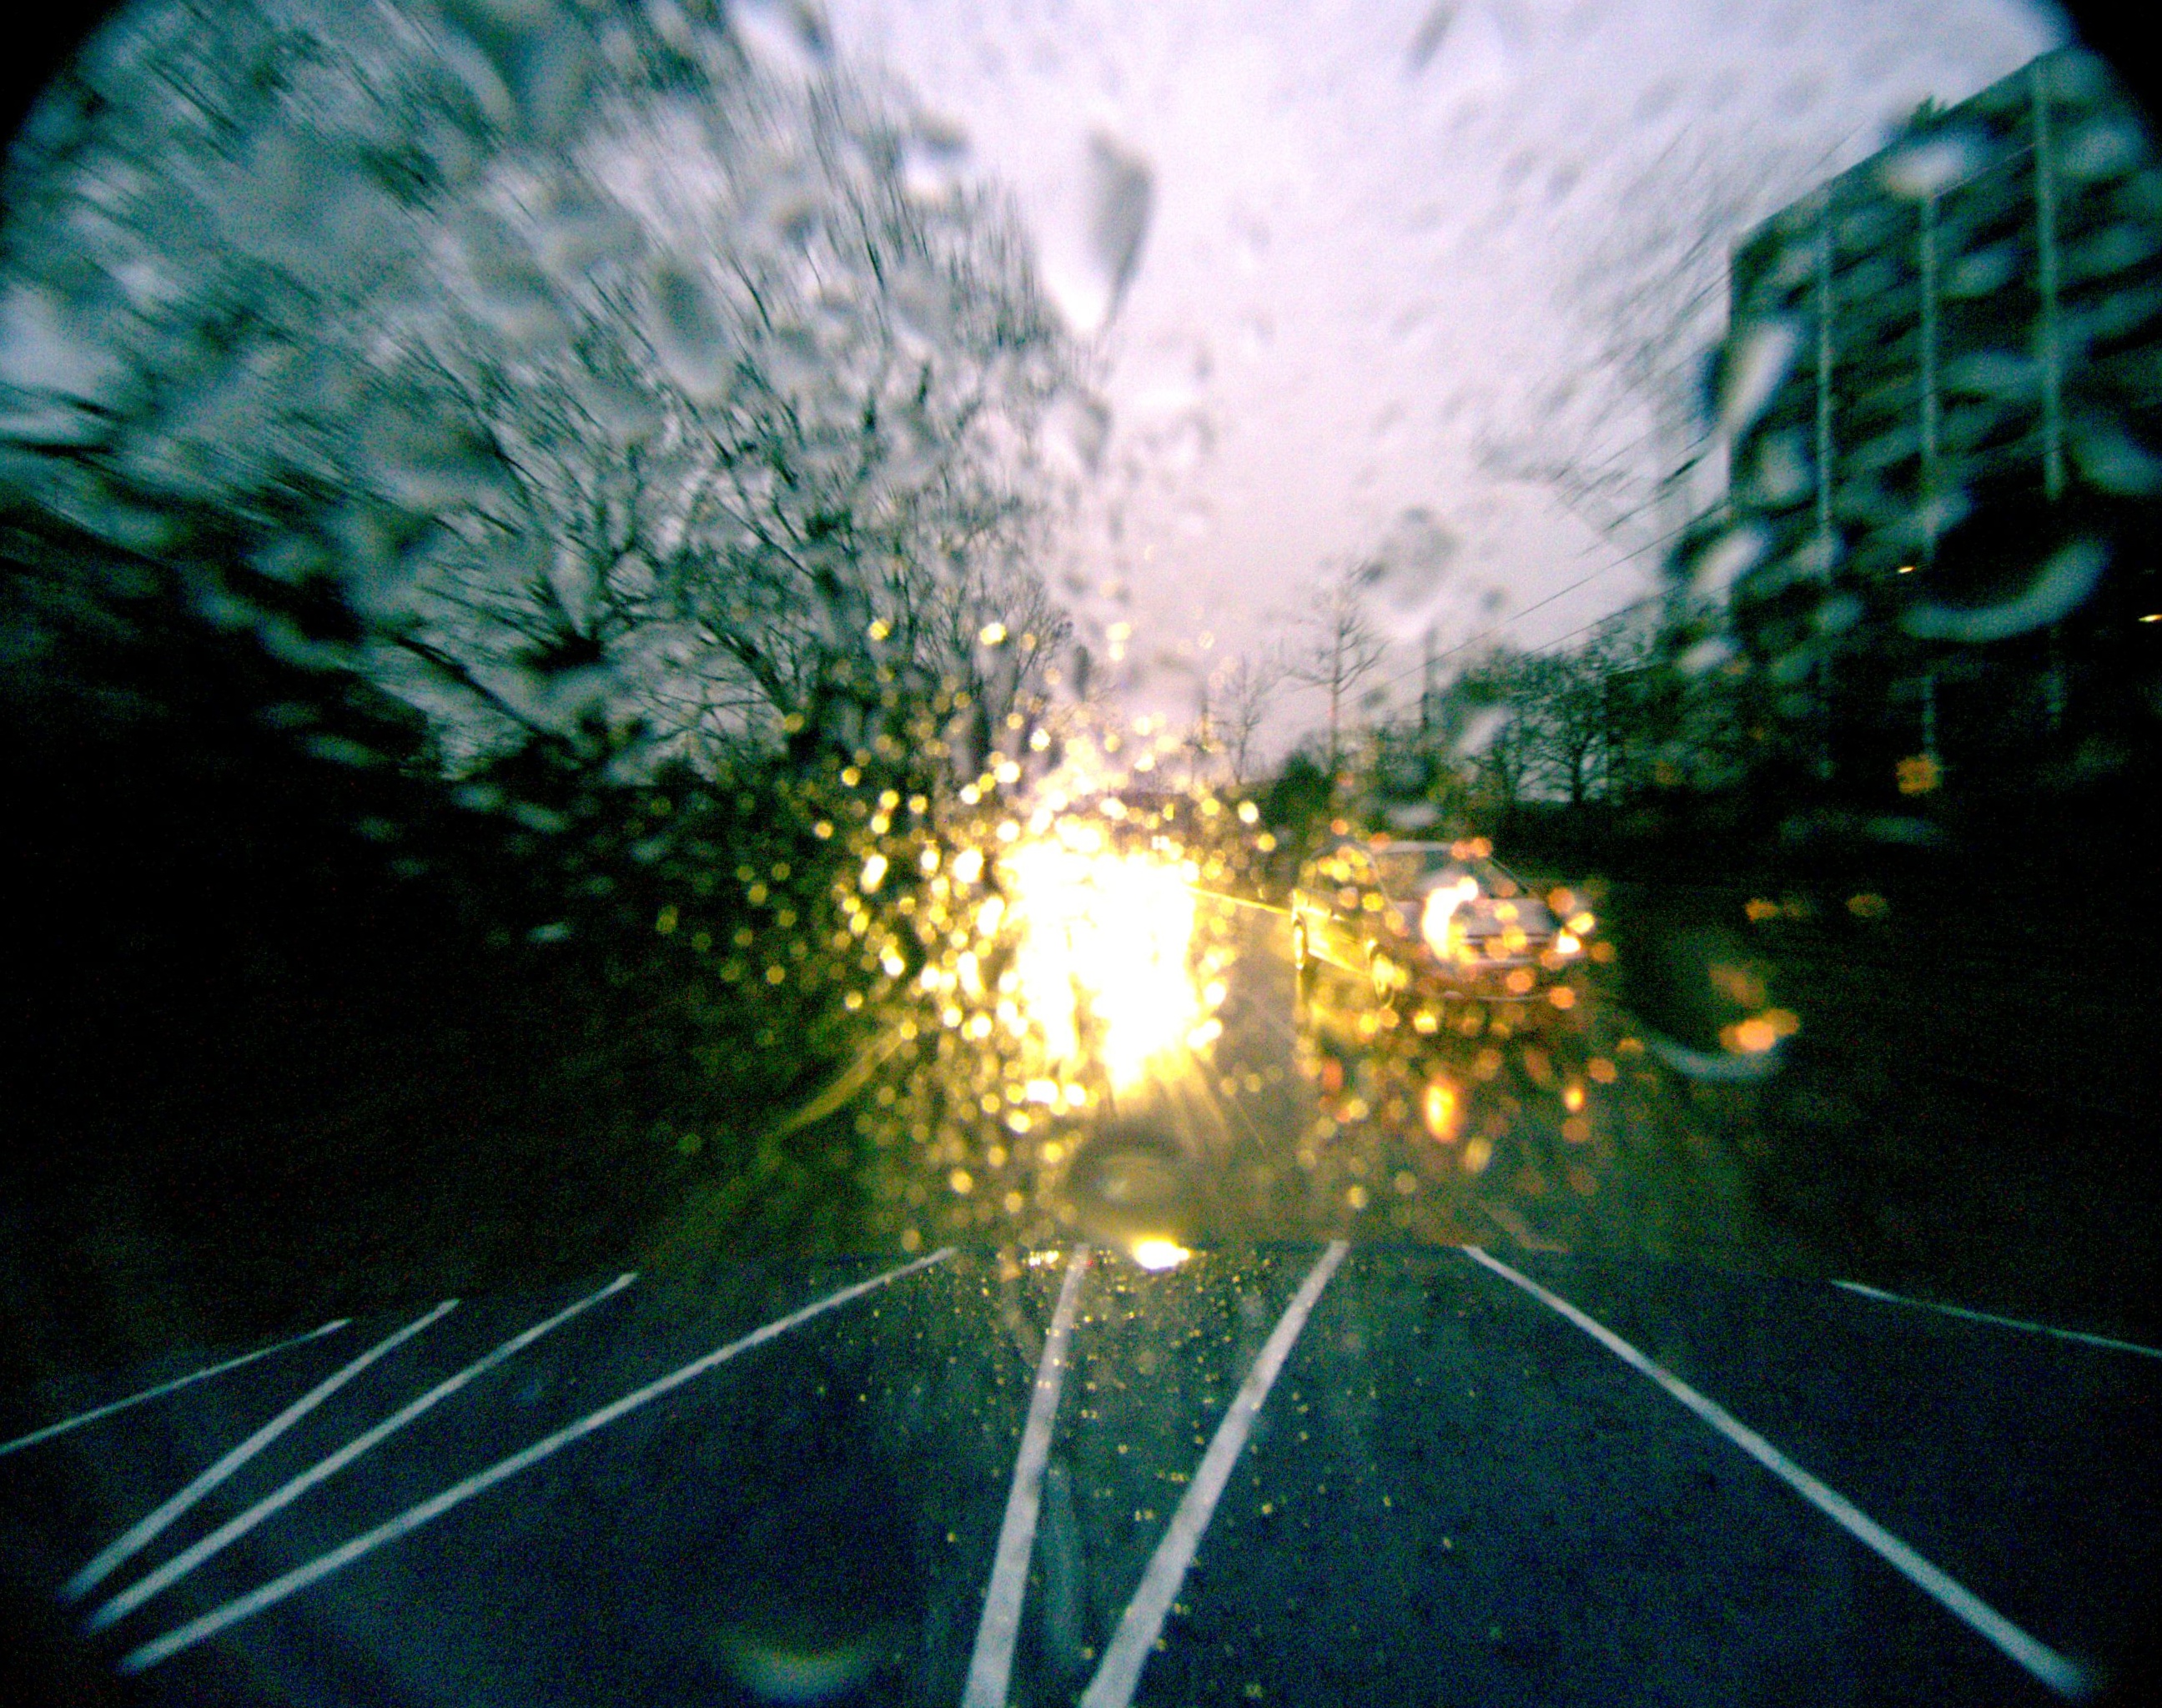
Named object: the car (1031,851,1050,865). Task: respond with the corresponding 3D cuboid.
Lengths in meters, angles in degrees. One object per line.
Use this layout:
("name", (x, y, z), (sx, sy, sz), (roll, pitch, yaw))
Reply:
("car", (-5.060, 0.497, 94.113), (1.951, 1.546, 4.214), (-3, 0, -8))

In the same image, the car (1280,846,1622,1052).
("car", (3.446, 0.749, 7.978), (1.669, 1.566, 3.922), (-2, 0, 1))

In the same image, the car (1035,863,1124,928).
("car", (-0.112, 0.930, 18.593), (1.897, 1.347, 4.288), (-1, 0, -2))

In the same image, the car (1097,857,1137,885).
("car", (2.174, 0.999, 46.913), (1.845, 1.546, 4.215), (-2, 0, -5))

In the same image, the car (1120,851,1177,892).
("car", (2.804, 0.698, 32.349), (1.924, 1.546, 4.216), (-2, 0, -1))

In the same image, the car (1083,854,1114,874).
("car", (1.393, 0.804, 62.841), (1.950, 1.546, 4.214), (-3, 0, -6))

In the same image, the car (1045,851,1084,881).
("car", (-0.982, 0.634, 42.896), (1.950, 1.546, 4.215), (-2, 0, -3))
